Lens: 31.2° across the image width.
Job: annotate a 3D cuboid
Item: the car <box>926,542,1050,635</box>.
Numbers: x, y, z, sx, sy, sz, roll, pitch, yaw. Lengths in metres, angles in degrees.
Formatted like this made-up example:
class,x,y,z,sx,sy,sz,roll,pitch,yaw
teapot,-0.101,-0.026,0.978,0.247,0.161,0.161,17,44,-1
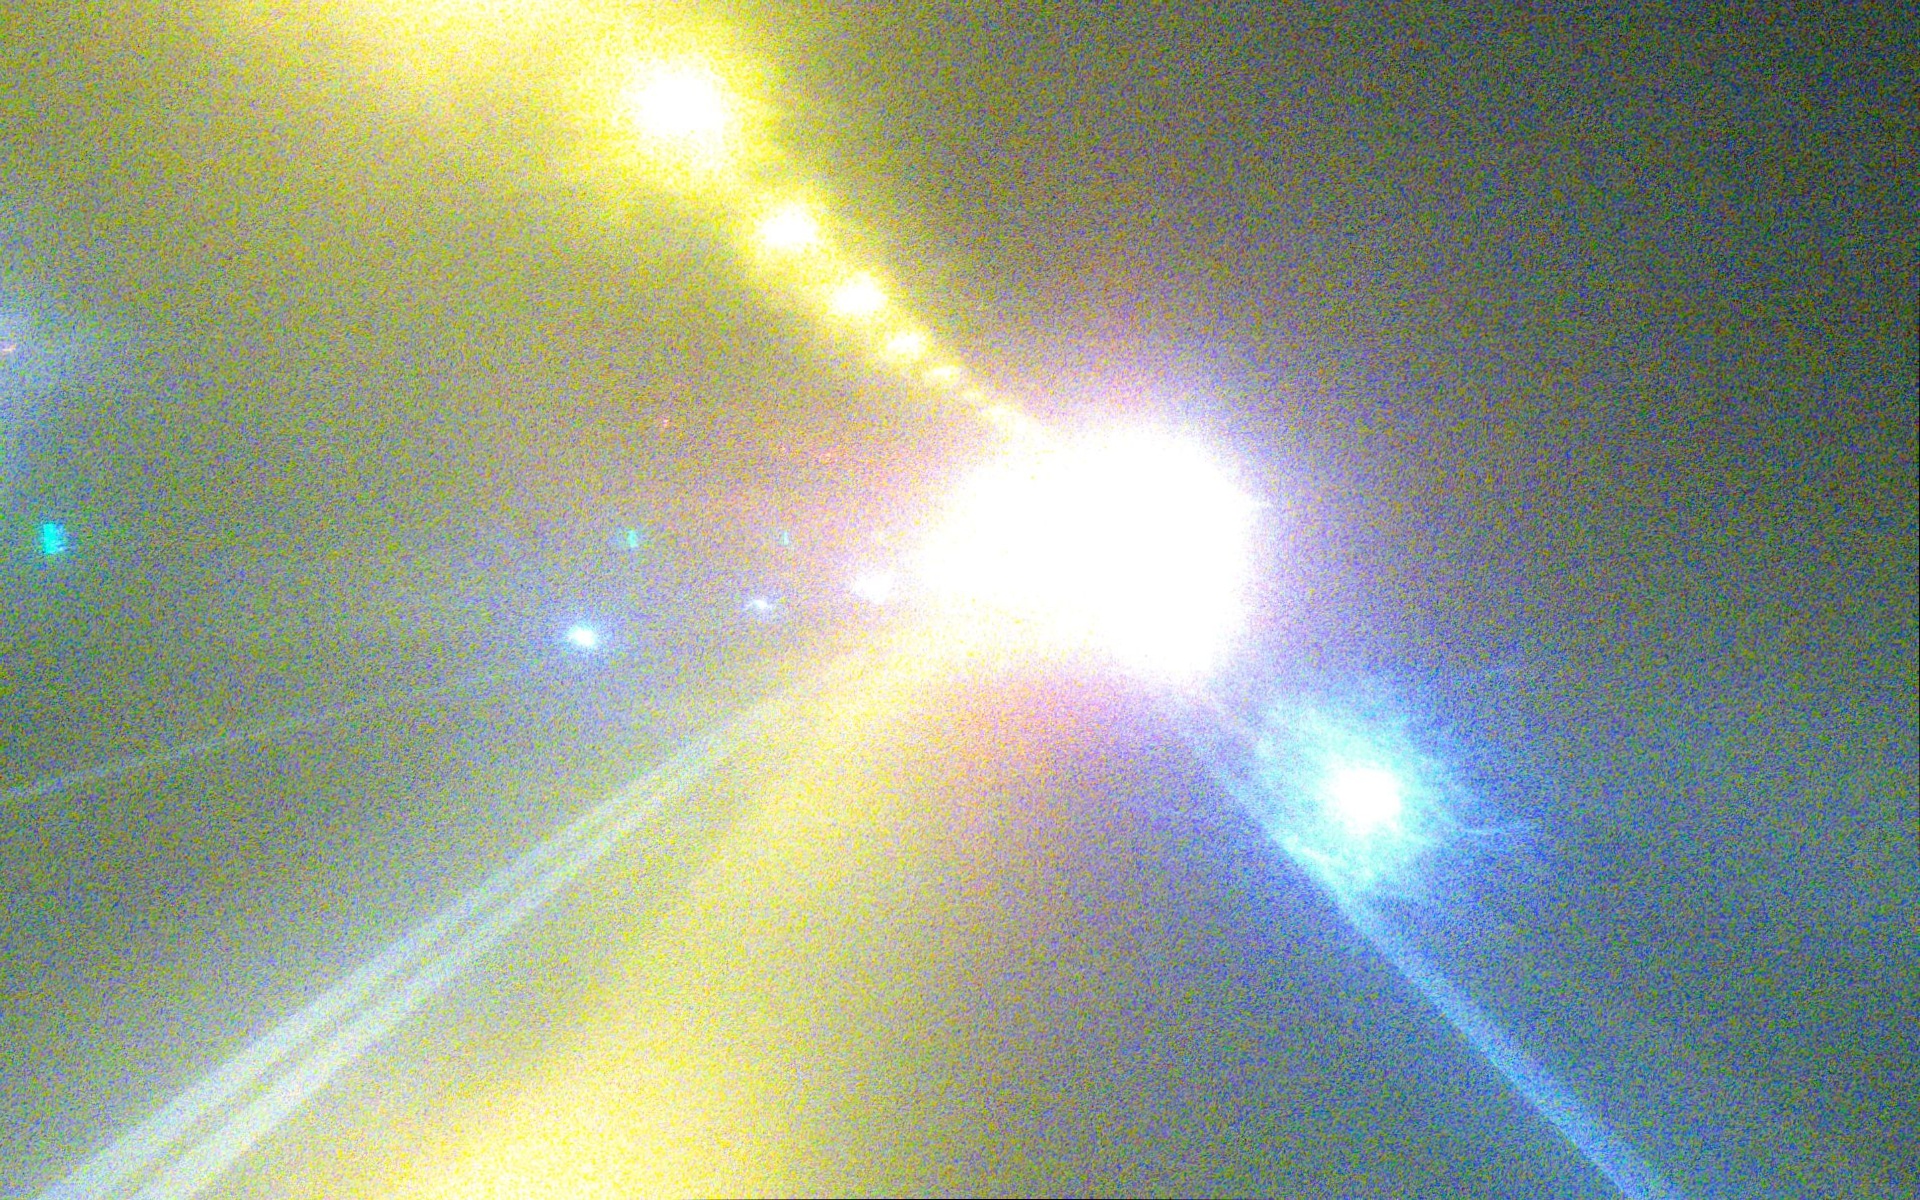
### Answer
class,x,y,z,sx,sy,sz,roll,pitch,yaw
car,0.550,-0.224,63.422,2.090,1.656,4.000,0,1,3
